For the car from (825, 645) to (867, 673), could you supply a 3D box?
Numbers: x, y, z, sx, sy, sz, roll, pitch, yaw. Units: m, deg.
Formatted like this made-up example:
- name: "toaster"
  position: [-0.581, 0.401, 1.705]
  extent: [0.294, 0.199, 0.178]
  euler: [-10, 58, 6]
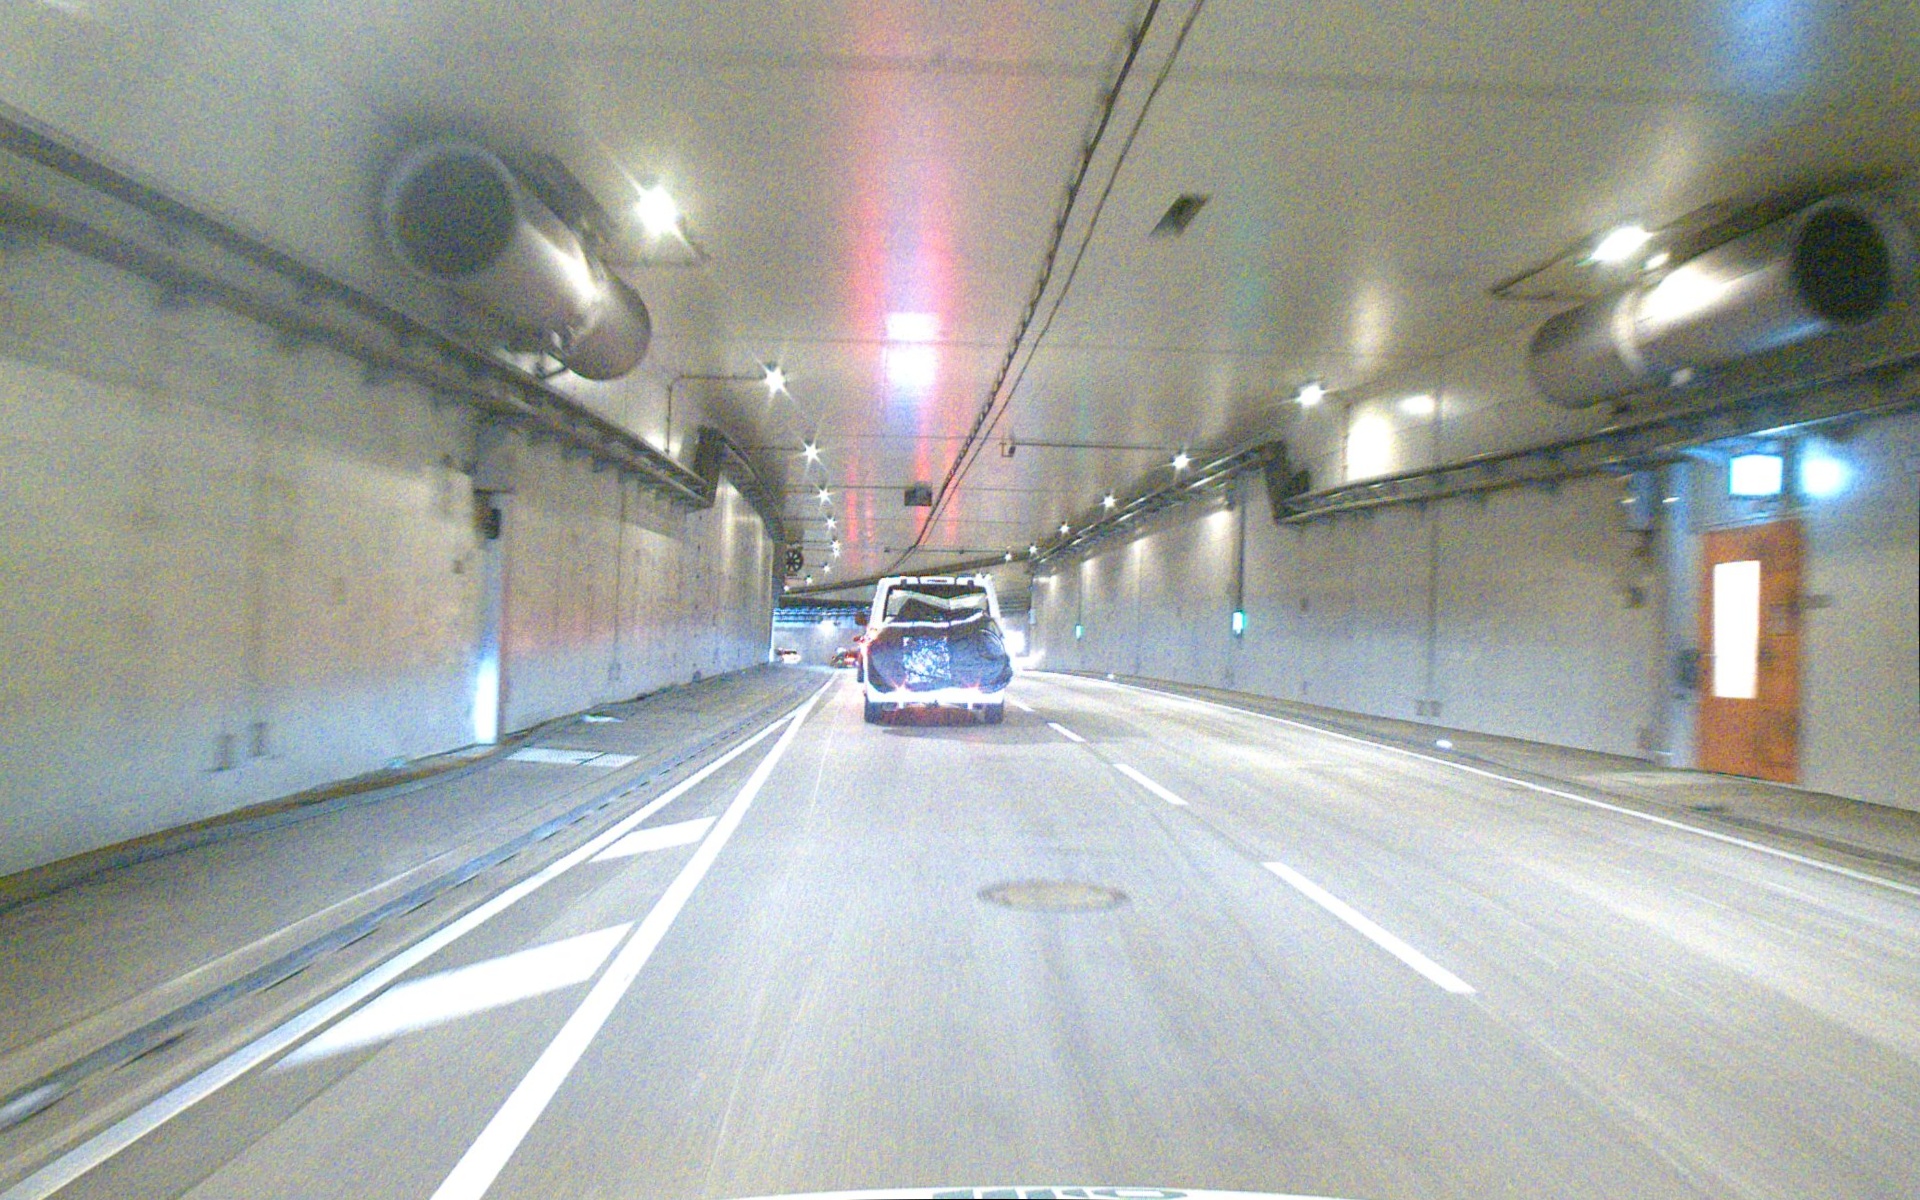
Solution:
- name: "car"
  position: [-7.146, 3.680, 103.657]
  extent: [1.793, 1.659, 3.826]
  euler: [4, -3, -16]

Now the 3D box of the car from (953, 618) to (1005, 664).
- name: "car"
  position: [0.682, 1.542, 61.053]
  extent: [1.571, 1.659, 3.351]
  euler: [0, -2, -5]

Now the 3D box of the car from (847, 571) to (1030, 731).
- name: "car"
  position: [-0.432, 0.627, 22.388]
  extent: [1.955, 1.880, 5.293]
  euler: [1, 0, -6]

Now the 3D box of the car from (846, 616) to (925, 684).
- name: "car"
  position: [-1.719, 1.123, 37.417]
  extent: [1.572, 1.420, 3.272]
  euler: [2, -1, -6]
